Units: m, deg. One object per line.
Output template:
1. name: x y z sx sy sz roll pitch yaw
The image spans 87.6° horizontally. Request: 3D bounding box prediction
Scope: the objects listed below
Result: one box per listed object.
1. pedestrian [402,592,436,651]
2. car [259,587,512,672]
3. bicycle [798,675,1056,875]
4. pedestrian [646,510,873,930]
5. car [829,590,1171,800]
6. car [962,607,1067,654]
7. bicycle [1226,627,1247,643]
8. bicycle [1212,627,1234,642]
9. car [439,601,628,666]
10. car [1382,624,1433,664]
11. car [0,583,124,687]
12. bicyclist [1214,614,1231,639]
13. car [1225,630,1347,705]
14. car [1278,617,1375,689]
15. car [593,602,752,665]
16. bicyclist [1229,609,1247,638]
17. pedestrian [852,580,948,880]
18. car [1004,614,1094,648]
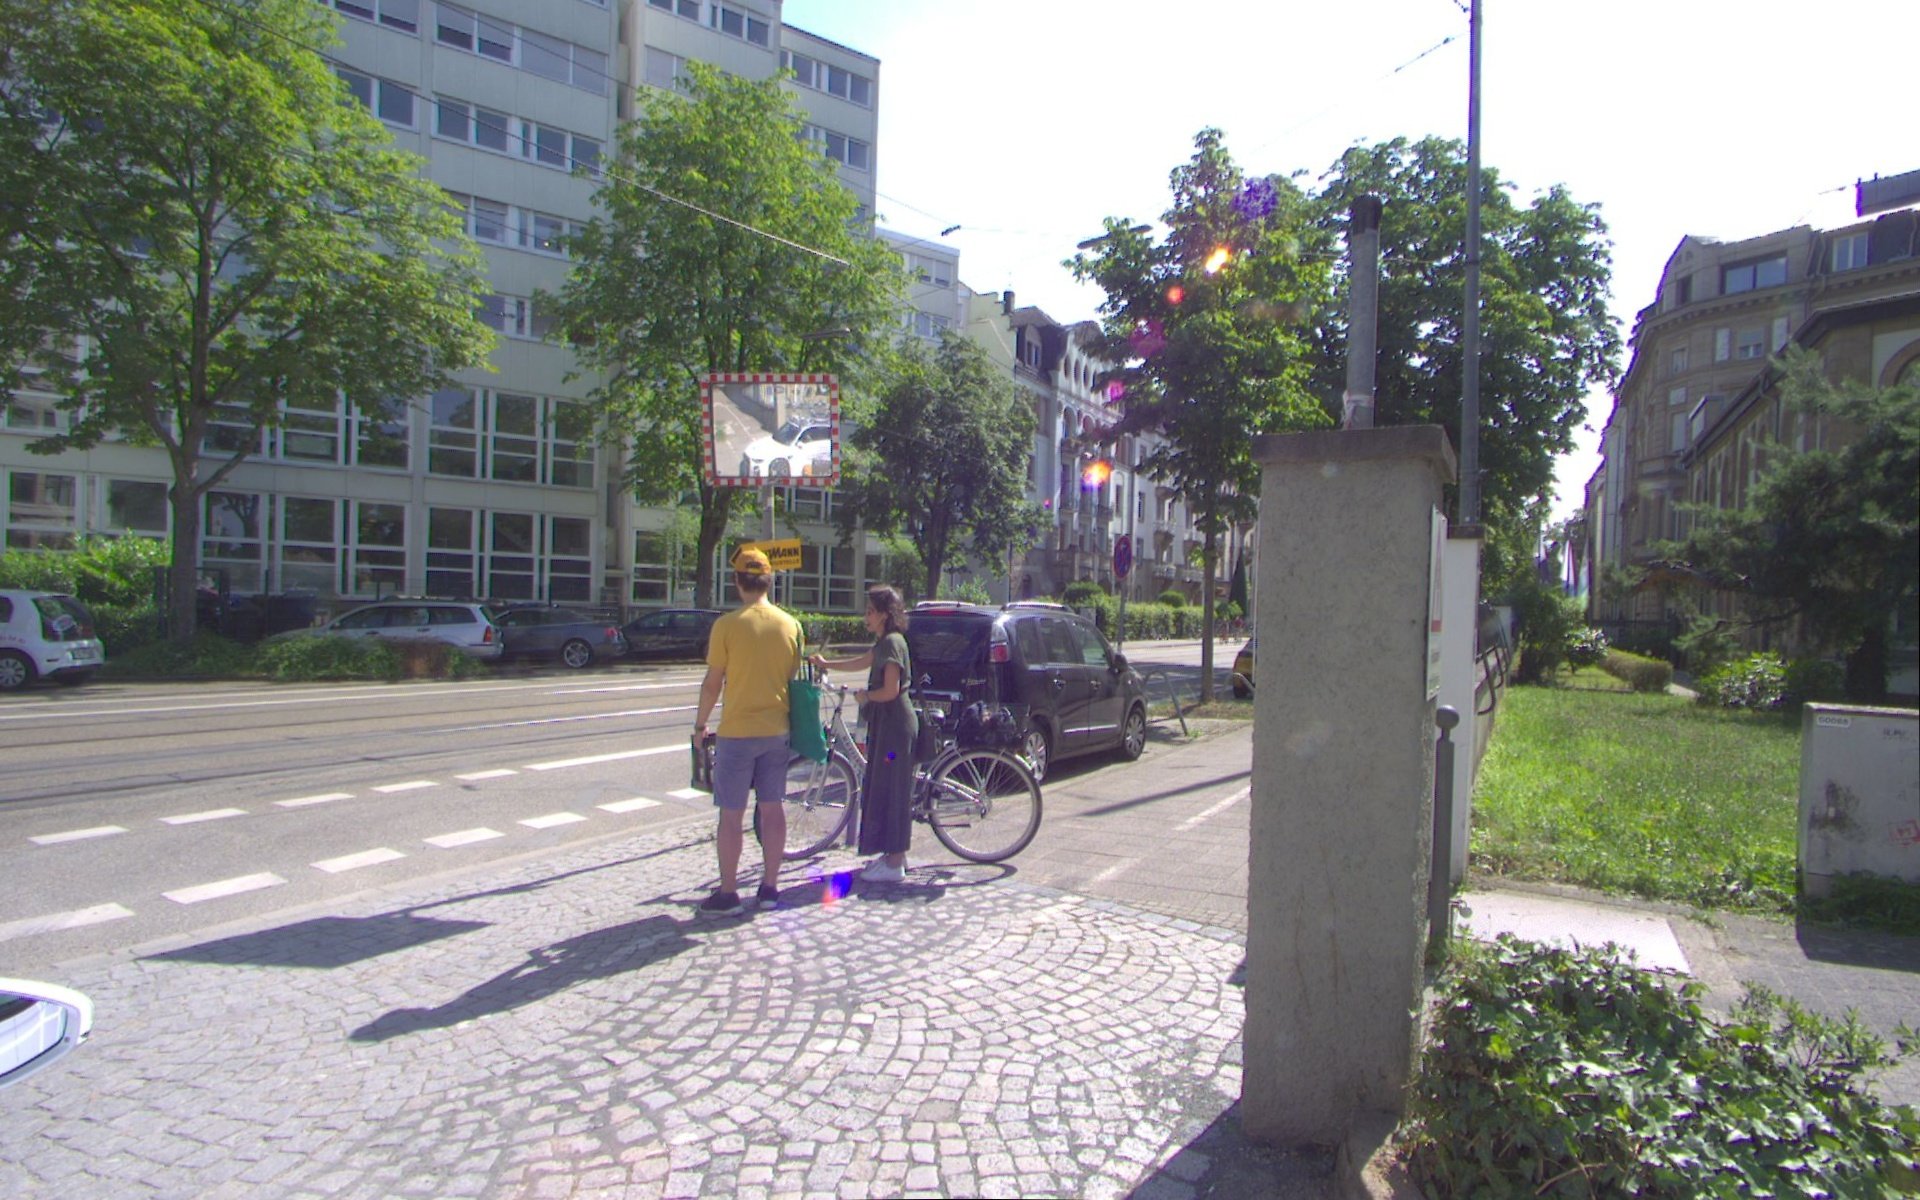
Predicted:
1. pedestrian: -13.703 0.545 25.370 0.417 1.480 0.620 2 0 27
2. car: -11.718 0.630 20.738 4.270 1.625 1.555 2 -1 -19
3. bicycle: -0.197 1.018 6.030 1.484 1.055 0.363 2 0 12
4. pedestrian: -1.029 0.555 5.081 0.843 1.889 0.824 2 0 -33
5. car: 0.623 0.829 10.405 1.829 1.706 3.981 1 -1 31
6. car: 2.304 1.279 42.533 3.935 1.884 1.993 2 0 -23
7. bicycle: 17.496 2.217 63.350 0.670 0.929 2.309 2 0 32
8. bicycle: 16.775 2.214 63.885 0.670 0.929 2.309 2 0 32
9. car: -9.879 0.785 23.484 3.875 1.375 1.556 2 0 -16
10. car: 20.861 2.018 46.613 1.828 1.702 3.984 1 -1 28
11. car: -15.143 0.486 14.845 3.874 1.505 1.610 1 0 -15
12. bicyclist: 16.722 1.688 63.812 0.793 1.563 0.860 2 0 33
13. car: 7.249 1.405 22.017 1.828 1.430 3.984 1 -1 28
14. car: 9.744 1.344 26.427 1.828 1.702 3.984 1 -1 28
15. car: -7.542 0.875 26.442 3.875 1.505 1.556 2 0 -16
16. bicyclist: 17.559 1.498 63.272 0.793 1.824 0.860 2 0 33
17. pedestrian: -0.337 0.721 5.741 0.445 1.642 0.422 -1 -1 12
18. car: 4.347 1.514 49.192 3.929 1.528 1.997 2 -1 -16
